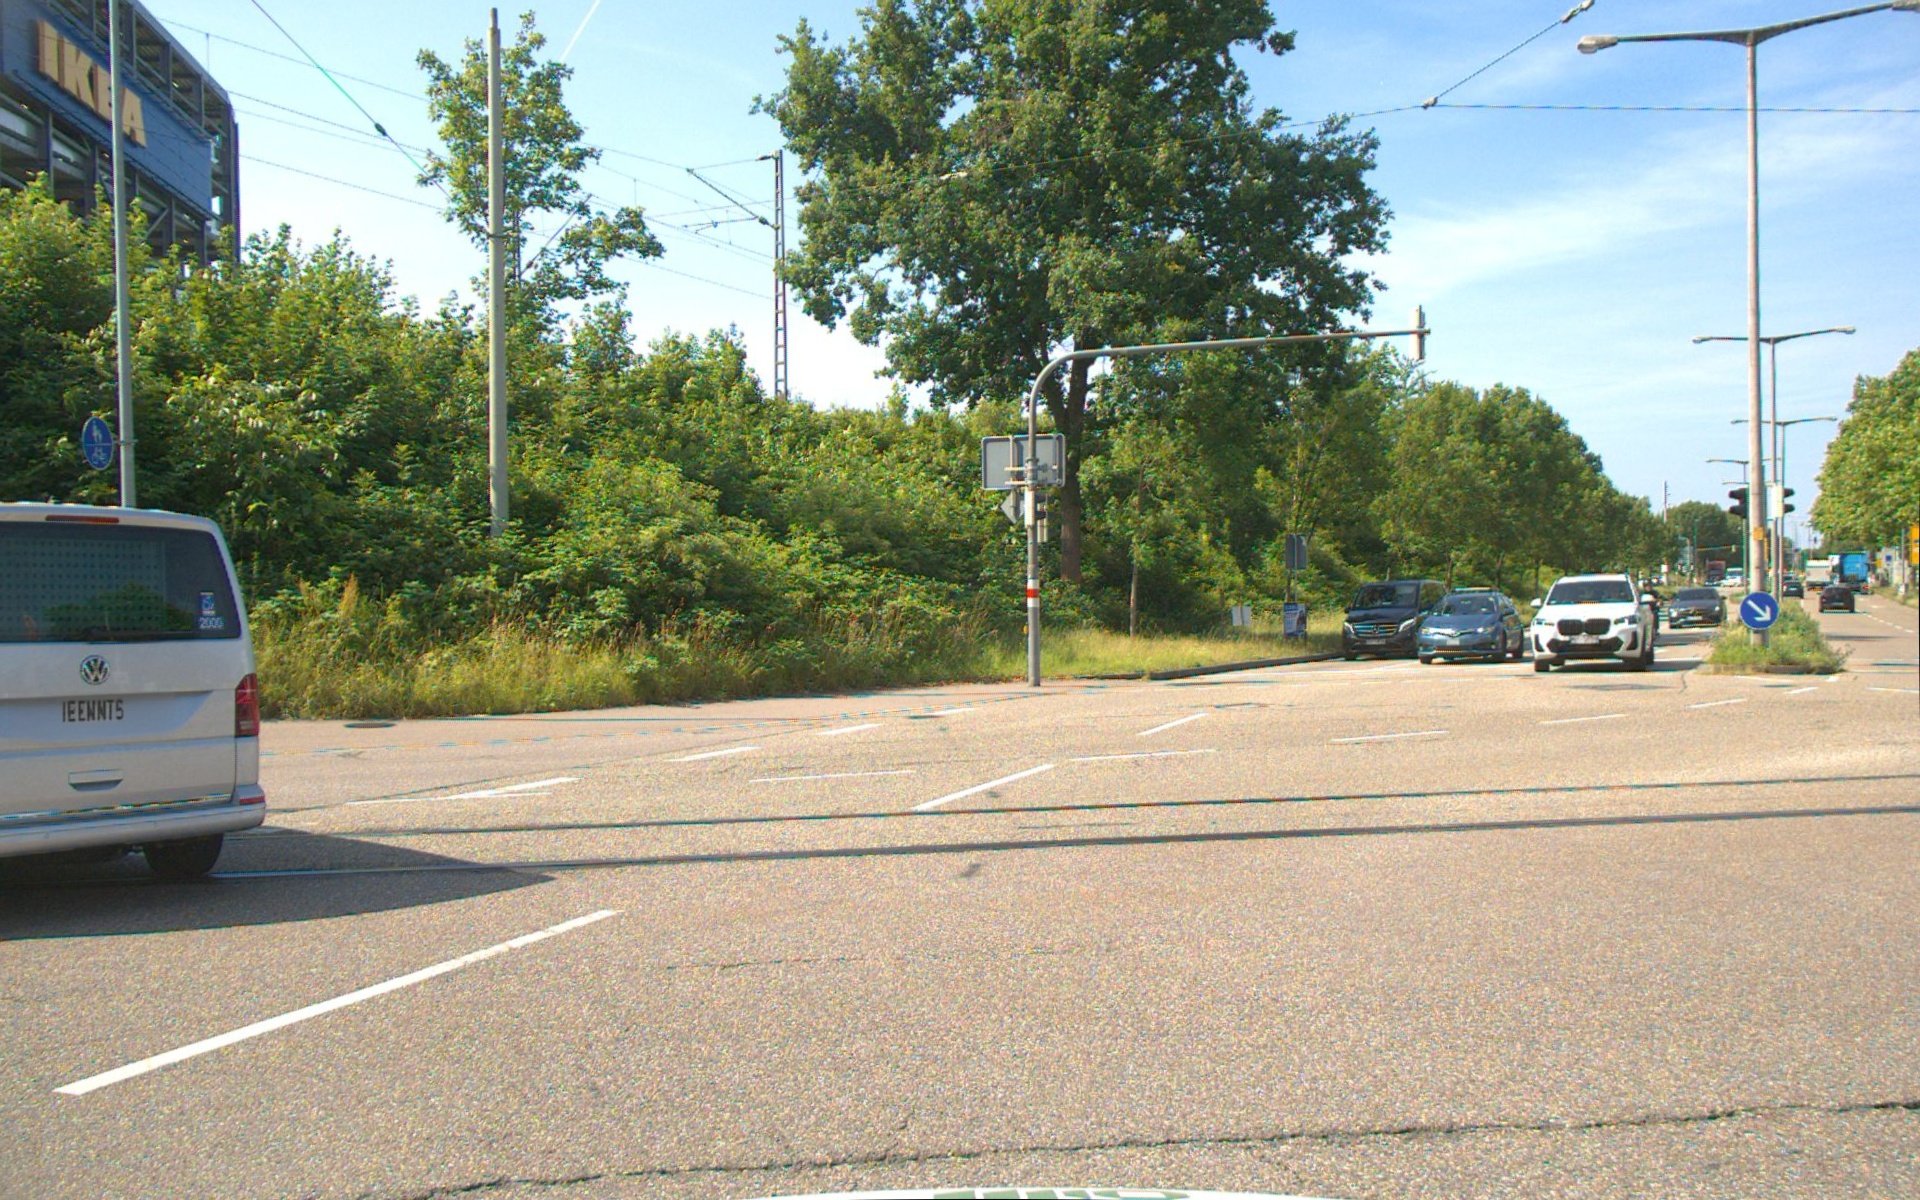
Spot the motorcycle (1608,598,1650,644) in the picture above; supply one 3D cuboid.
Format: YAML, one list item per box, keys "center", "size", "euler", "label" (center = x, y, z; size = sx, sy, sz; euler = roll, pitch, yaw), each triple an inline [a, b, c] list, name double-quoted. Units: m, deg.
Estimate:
- center: [17.009, 0.520, 42.035]
  size: [0.721, 1.102, 2.040]
  euler: [-3, -1, 29]
  label: "motorcycle"

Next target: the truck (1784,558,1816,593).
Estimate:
- center: [91.233, -2.684, 179.586]
  size: [2.787, 3.640, 8.705]
  euler: [-1, 0, 29]
  label: "truck"

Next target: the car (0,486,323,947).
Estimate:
- center: [-5.683, 0.498, 9.229]
  size: [4.931, 2.006, 1.937]
  euler: [0, 0, 41]
  label: "car"

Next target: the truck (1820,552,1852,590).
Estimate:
- center: [107.625, -3.559, 203.119]
  size: [3.131, 4.431, 13.125]
  euler: [-1, 0, 29]
  label: "truck"

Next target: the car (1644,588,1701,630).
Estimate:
- center: [26.489, 0.312, 61.436]
  size: [1.681, 1.403, 4.468]
  euler: [-3, 0, 26]
  label: "car"

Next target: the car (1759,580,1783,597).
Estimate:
- center: [66.168, -0.959, 134.885]
  size: [1.715, 1.368, 4.374]
  euler: [-1, 0, 27]
  label: "car"

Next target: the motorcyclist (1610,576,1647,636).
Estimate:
- center: [17.011, 0.152, 42.061]
  size: [0.721, 1.472, 0.871]
  euler: [-3, -1, 29]
  label: "motorcyclist"

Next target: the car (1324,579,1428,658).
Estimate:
- center: [10.297, 0.425, 40.724]
  size: [1.812, 1.846, 3.998]
  euler: [-1, 0, 24]
  label: "car"

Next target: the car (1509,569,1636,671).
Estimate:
- center: [11.252, 0.329, 30.204]
  size: [1.871, 1.718, 4.625]
  euler: [-1, 0, 24]
  label: "car"

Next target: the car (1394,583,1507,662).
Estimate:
- center: [10.625, 0.459, 35.652]
  size: [1.812, 1.589, 3.998]
  euler: [-1, 0, 24]
  label: "car"
